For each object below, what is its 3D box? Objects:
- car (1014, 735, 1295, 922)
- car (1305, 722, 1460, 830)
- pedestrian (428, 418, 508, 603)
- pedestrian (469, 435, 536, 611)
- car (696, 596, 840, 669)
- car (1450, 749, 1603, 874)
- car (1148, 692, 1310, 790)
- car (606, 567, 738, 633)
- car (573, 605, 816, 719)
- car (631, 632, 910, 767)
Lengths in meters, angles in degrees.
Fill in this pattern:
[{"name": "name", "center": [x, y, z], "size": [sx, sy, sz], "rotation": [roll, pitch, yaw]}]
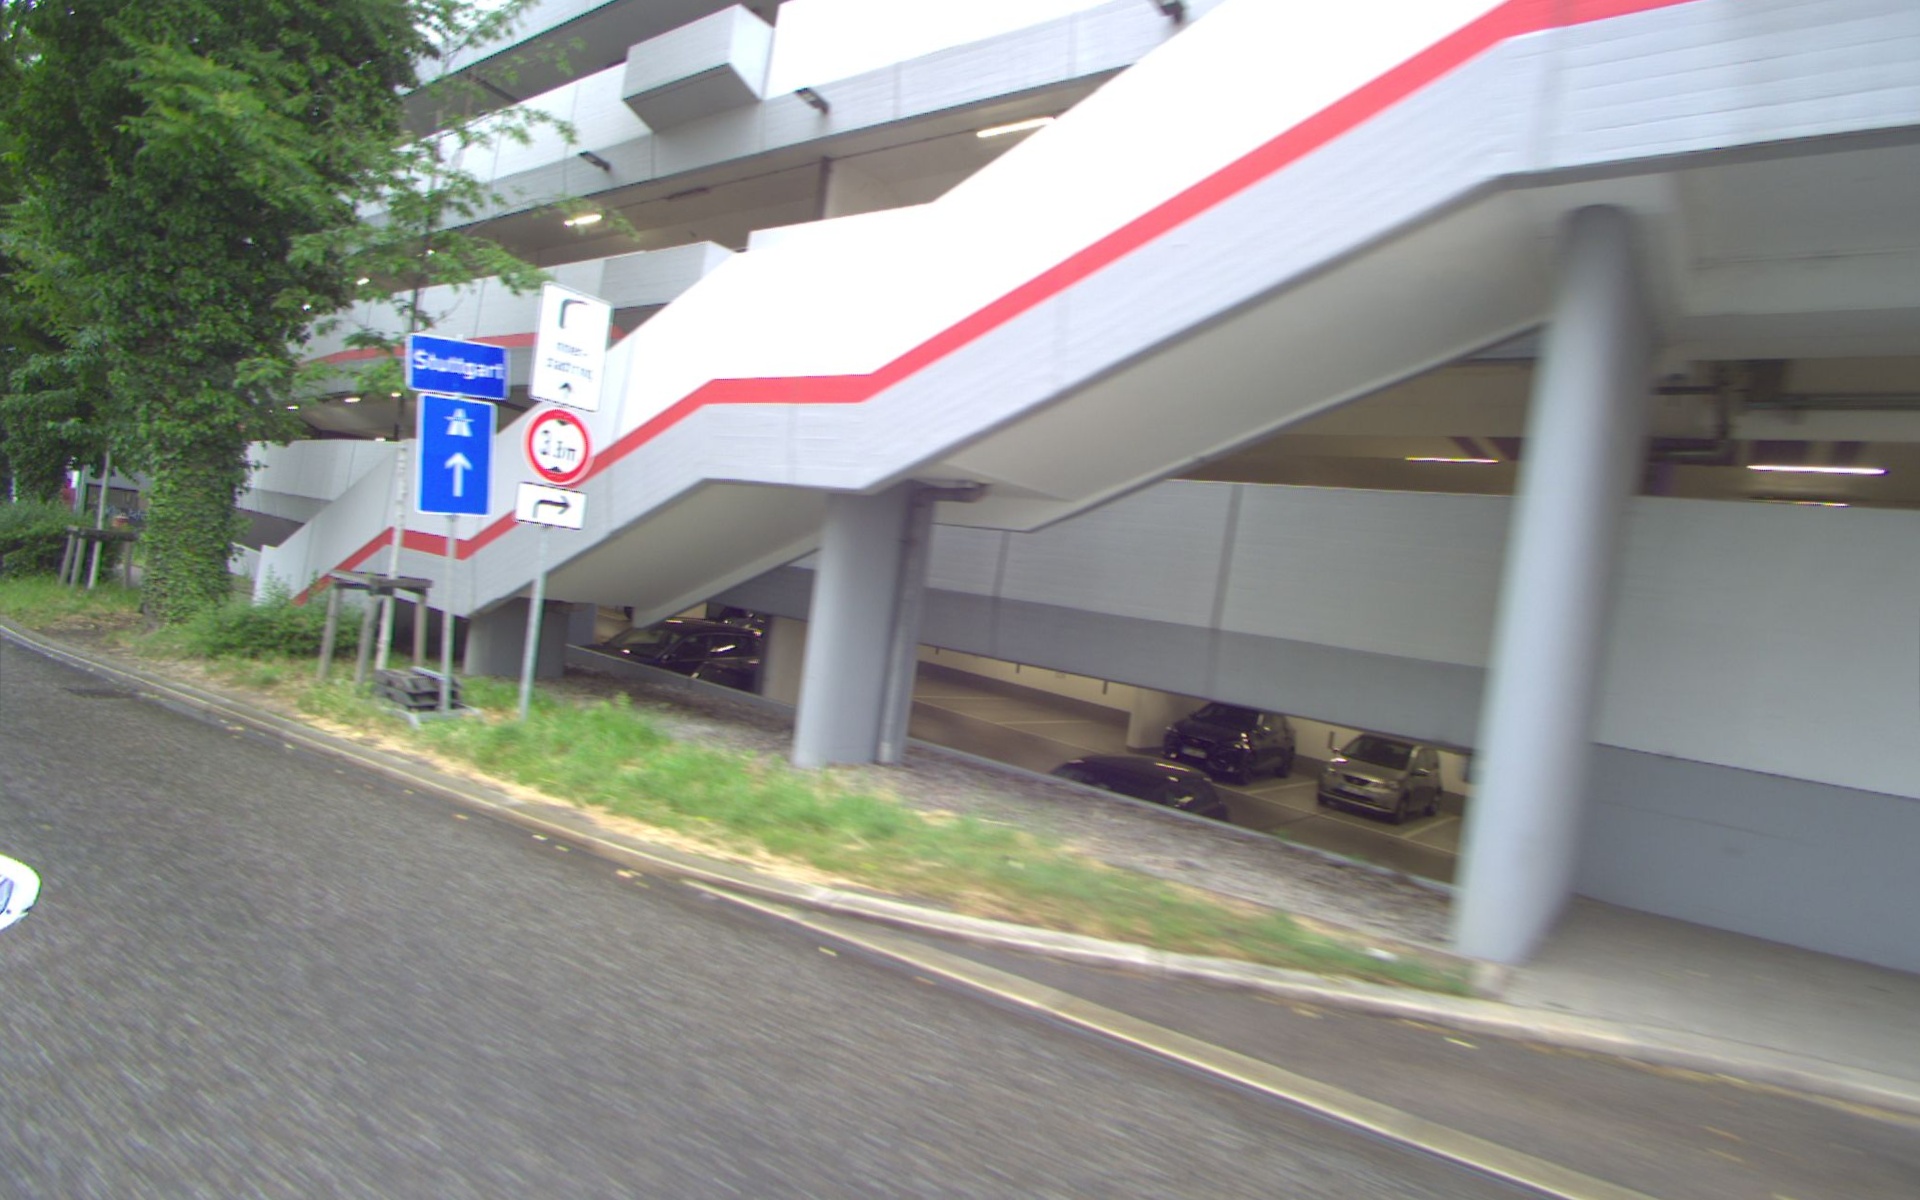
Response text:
[{"name": "car", "center": [2.633, 2.736, 12.904], "size": [1.810, 1.559, 3.930], "rotation": [11, 1, 37]}, {"name": "car", "center": [8.657, 3.461, 20.427], "size": [1.810, 1.559, 3.988], "rotation": [11, 1, 37]}, {"name": "pedestrian", "center": [-6.051, -1.093, 12.374], "size": [0.486, 2.181, 0.514], "rotation": [7, 1, 36]}, {"name": "pedestrian", "center": [-5.844, -0.979, 12.861], "size": [0.427, 2.181, 0.421], "rotation": [7, 1, 36]}, {"name": "car", "center": [-5.920, 1.051, 31.290], "size": [1.792, 1.804, 3.978], "rotation": [7, 0, 44]}, {"name": "car", "center": [10.671, 3.830, 18.817], "size": [1.810, 1.559, 3.988], "rotation": [11, 1, 37]}, {"name": "car", "center": [5.870, 2.960, 21.649], "size": [1.810, 1.559, 3.988], "rotation": [11, 1, 37]}, {"name": "car", "center": [-10.117, 0.020, 35.479], "size": [1.792, 1.804, 3.978], "rotation": [7, 0, 44]}, {"name": "car", "center": [-4.623, 1.152, 17.918], "size": [1.782, 1.559, 3.733], "rotation": [11, 1, 37]}, {"name": "car", "center": [-2.815, 1.543, 15.735], "size": [1.810, 1.643, 3.988], "rotation": [7, -1, 36]}]
